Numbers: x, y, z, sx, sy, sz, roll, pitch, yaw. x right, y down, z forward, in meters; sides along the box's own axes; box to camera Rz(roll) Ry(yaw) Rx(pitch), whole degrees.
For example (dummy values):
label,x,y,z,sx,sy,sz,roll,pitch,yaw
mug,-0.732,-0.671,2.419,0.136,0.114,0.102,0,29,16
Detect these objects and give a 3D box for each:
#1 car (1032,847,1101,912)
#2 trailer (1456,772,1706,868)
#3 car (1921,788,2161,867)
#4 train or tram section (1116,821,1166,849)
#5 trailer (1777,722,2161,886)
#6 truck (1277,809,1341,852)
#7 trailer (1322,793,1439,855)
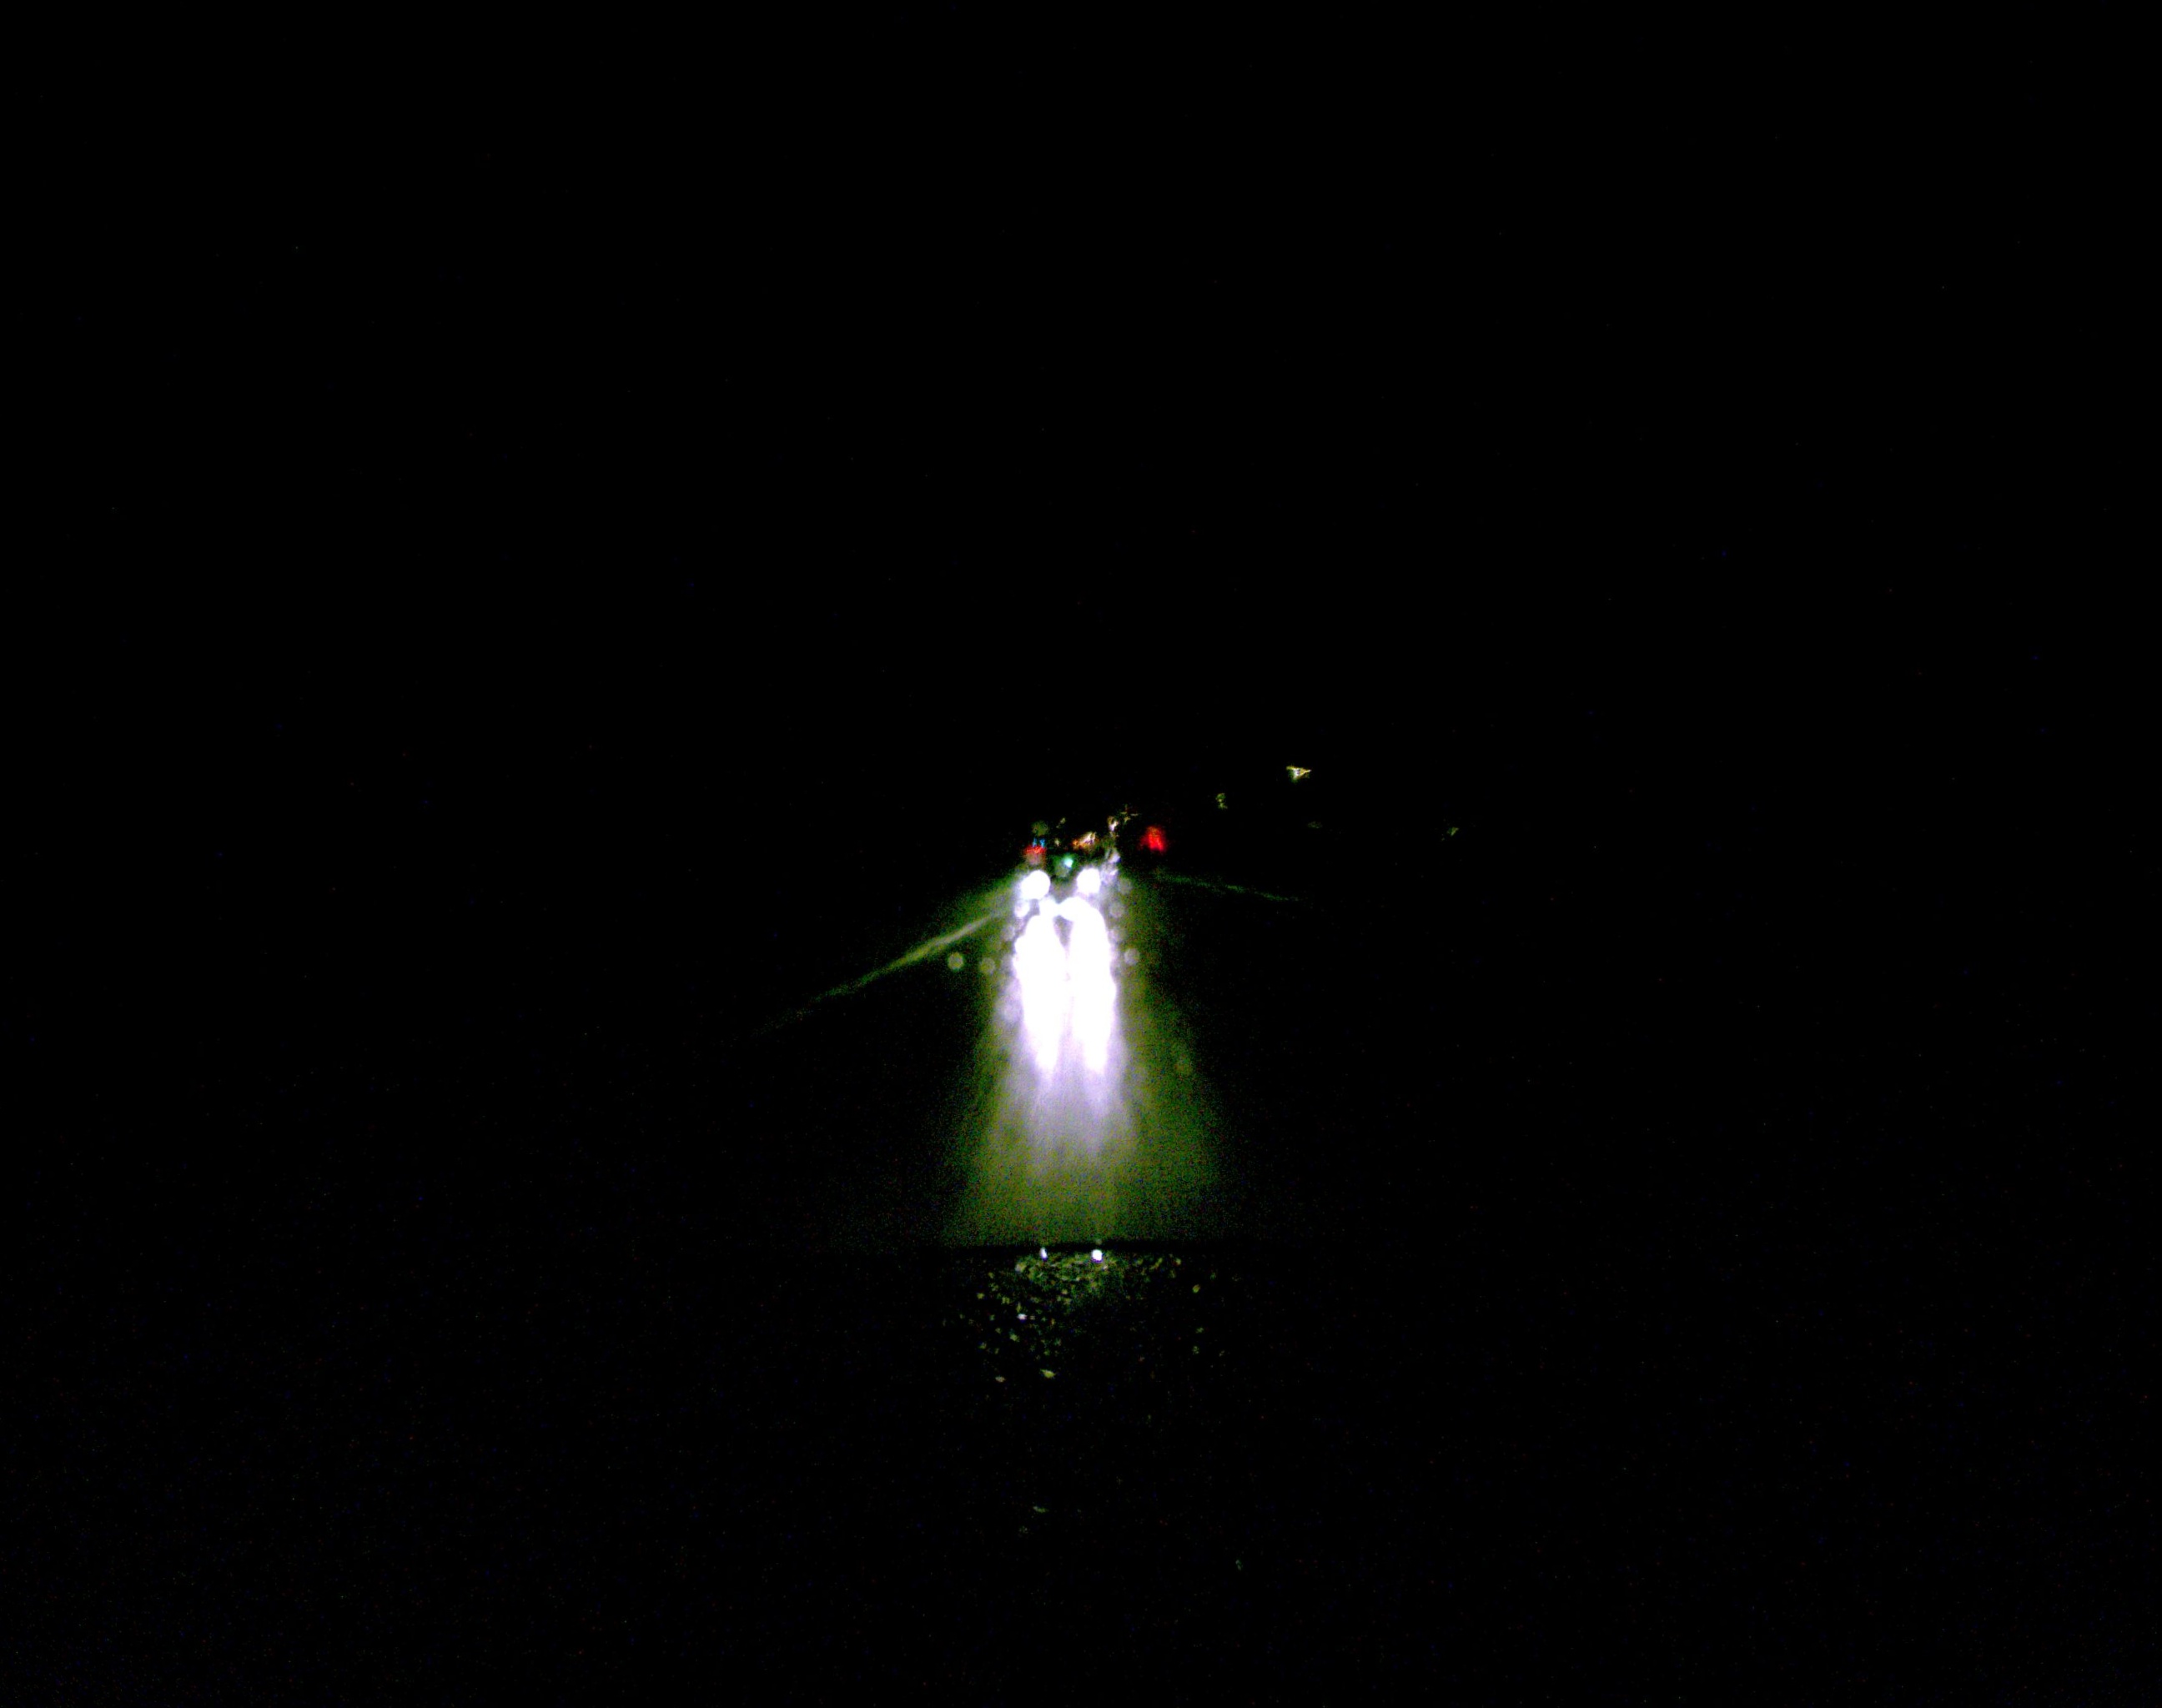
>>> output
label,x,y,z,sx,sy,sz,roll,pitch,yaw
car,-0.533,0.700,22.897,1.791,1.684,4.217,-4,0,-4
trailer,29.532,-1.898,46.739,3.982,4.584,15.506,-5,1,-4
car,23.769,-0.599,18.460,1.791,1.684,4.217,-4,0,-5
train or tram section,9.367,-3.046,127.160,2.704,3.793,37.124,-5,1,-4
trailer,31.769,-1.626,24.840,3.982,4.584,14.239,-5,1,-4
truck,26.756,-2.715,89.854,3.449,4.584,10.207,-5,2,-4
trailer,28.133,-2.684,72.786,3.982,4.984,14.826,-5,1,-4
